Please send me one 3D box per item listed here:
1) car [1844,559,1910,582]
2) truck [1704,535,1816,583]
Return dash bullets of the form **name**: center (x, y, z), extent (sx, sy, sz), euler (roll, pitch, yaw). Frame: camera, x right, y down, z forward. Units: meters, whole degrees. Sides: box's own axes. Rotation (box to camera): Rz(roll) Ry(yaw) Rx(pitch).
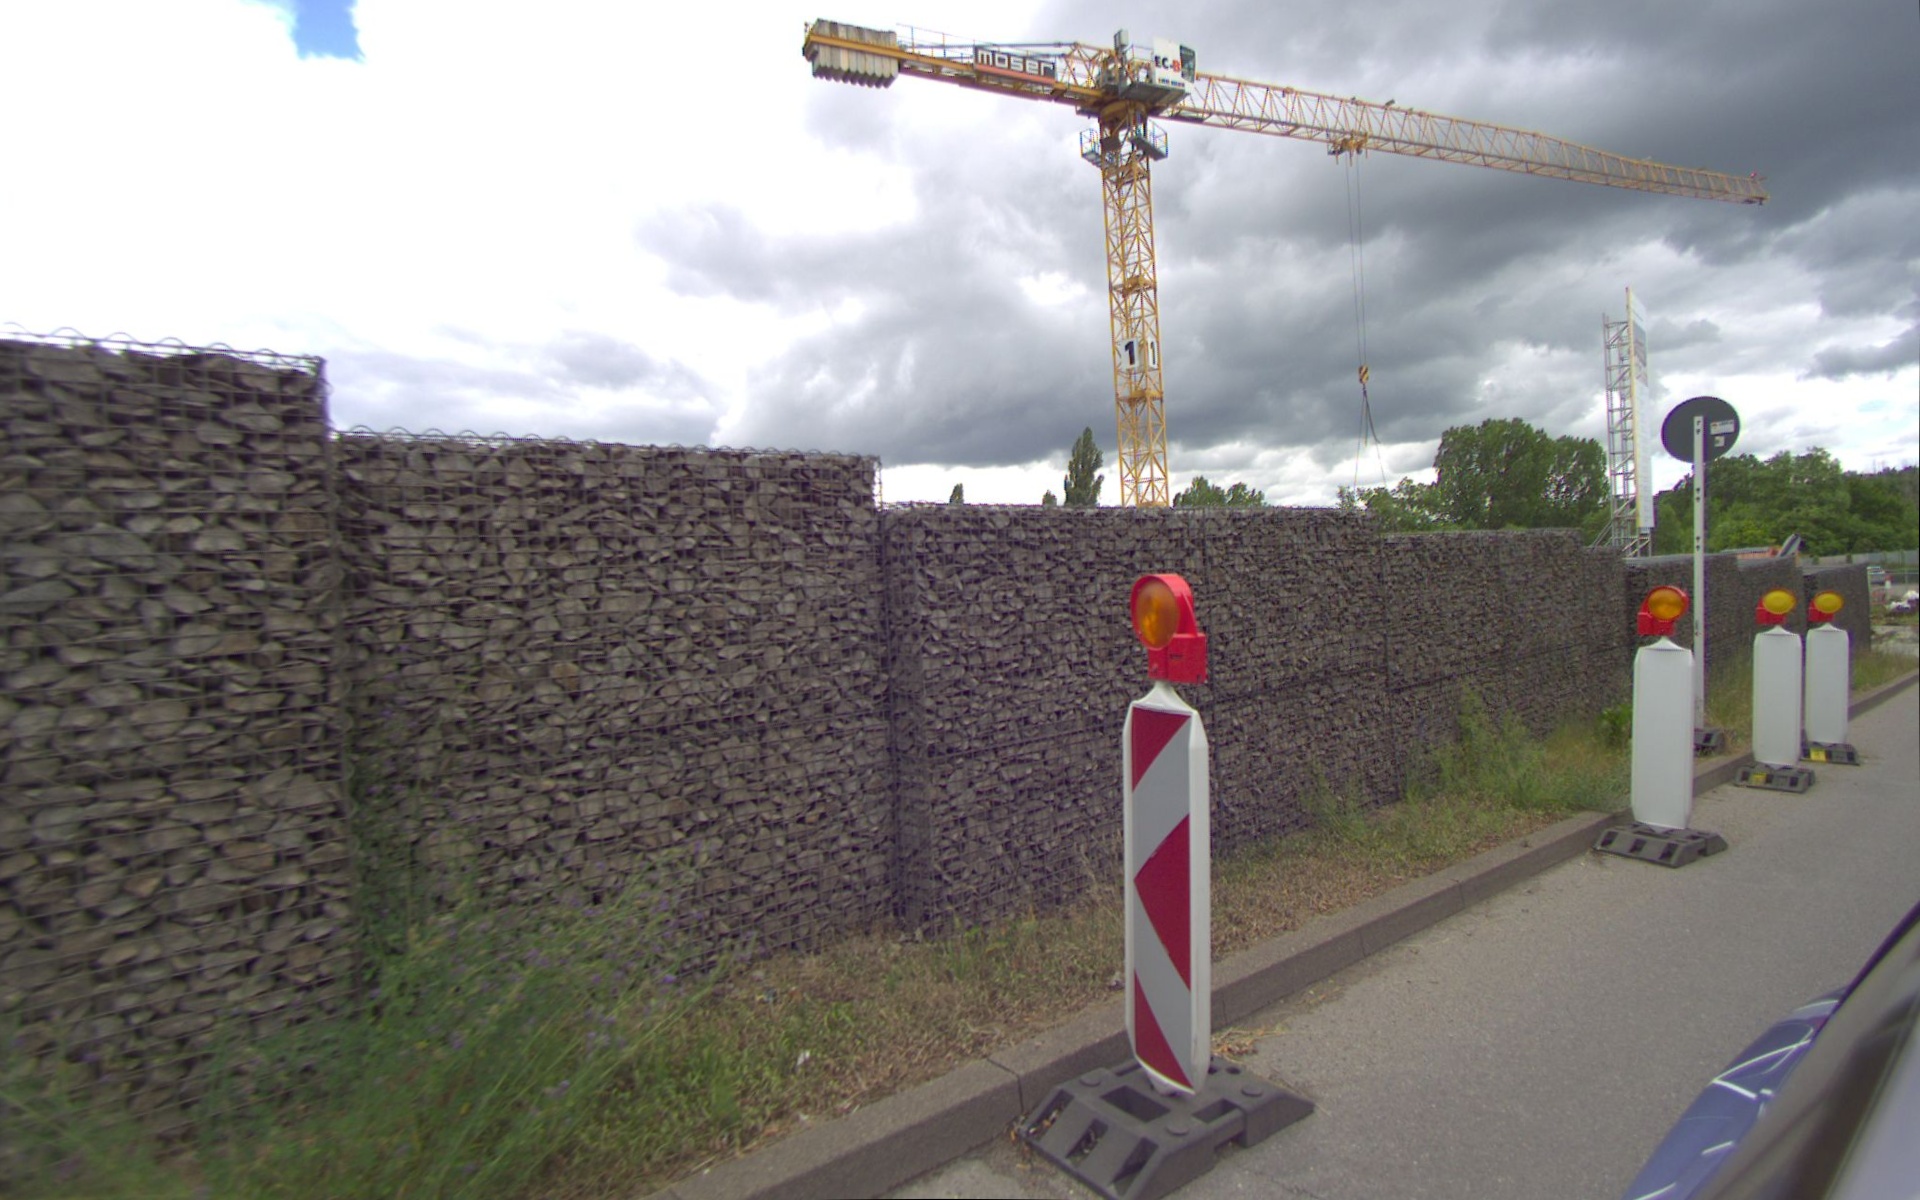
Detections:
- **car**: center (73.605, -2.363, 81.331), extent (1.863, 1.583, 4.091), euler (-4, 0, 8)
- **truck**: center (75.389, -3.783, 95.717), extent (2.987, 3.947, 9.991), euler (-3, 0, 4)
